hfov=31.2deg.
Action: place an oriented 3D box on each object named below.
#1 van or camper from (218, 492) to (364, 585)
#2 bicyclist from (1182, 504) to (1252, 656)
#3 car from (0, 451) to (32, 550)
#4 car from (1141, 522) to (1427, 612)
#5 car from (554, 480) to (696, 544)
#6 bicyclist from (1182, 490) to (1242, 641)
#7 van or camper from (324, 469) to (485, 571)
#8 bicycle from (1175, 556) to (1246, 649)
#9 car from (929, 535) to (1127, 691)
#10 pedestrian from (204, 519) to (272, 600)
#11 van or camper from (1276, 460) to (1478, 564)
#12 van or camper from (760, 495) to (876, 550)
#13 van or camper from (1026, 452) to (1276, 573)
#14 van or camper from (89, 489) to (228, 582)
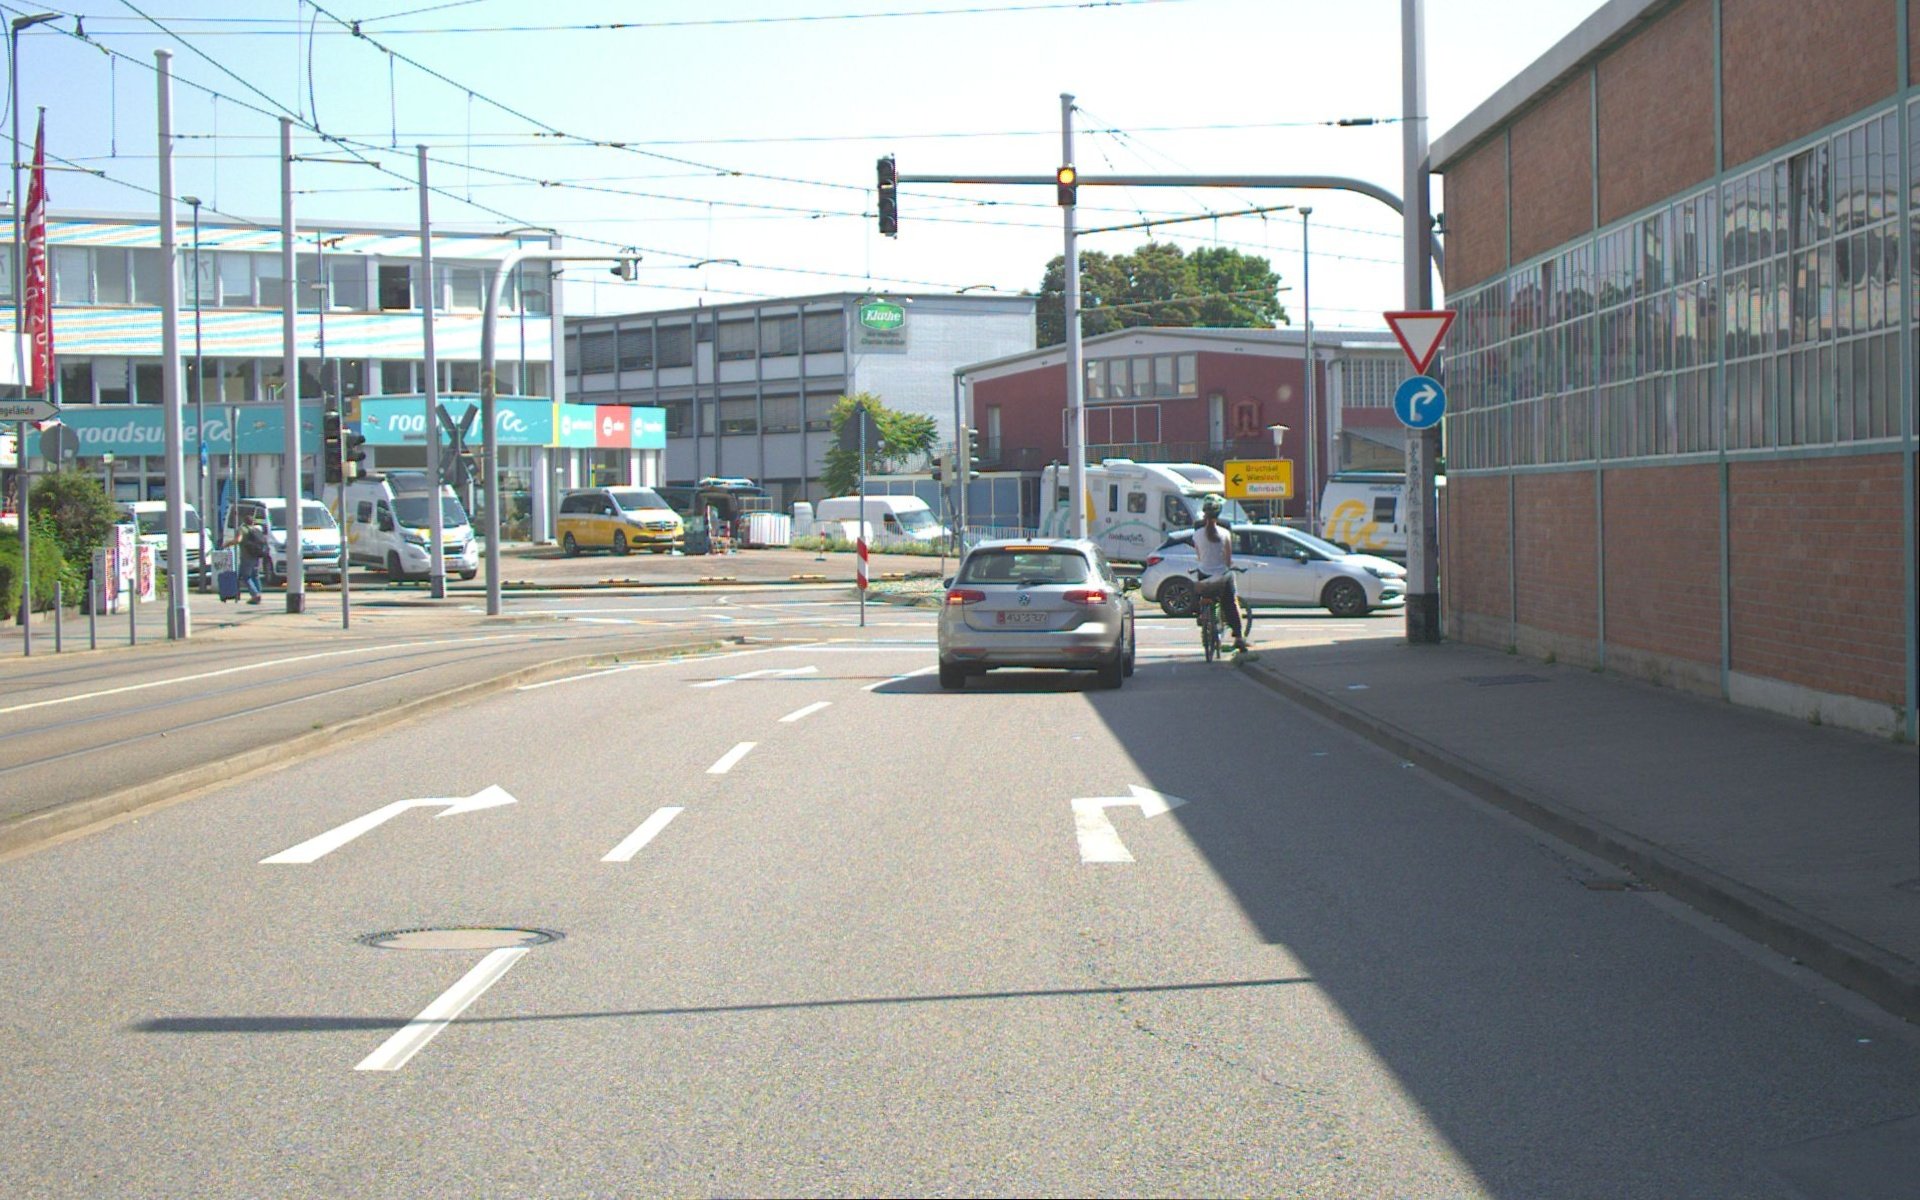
[{"bbox_3d":[-16.240,-1.515,83.263,1.993,2.006,5.011,-2,4,-29],"label":"van or camper"},{"bbox_3d":[2.944,-0.242,39.423,0.786,1.716,1.147,0,1,4],"label":"bicyclist"},{"bbox_3d":[-16.971,-1.567,54.350,3.987,1.513,2.000,0,4,4],"label":"car"},{"bbox_3d":[5.162,-0.524,54.720,4.195,1.370,1.801,0,1,20],"label":"car"},{"bbox_3d":[-9.634,-2.498,98.472,1.938,1.753,5.122,-2,1,-32],"label":"car"},{"bbox_3d":[3.040,-0.421,41.509,0.708,1.804,0.983,0,1,3],"label":"bicyclist"},{"bbox_3d":[-13.720,-2.010,84.663,2.031,2.288,5.814,-2,4,-29],"label":"van or camper"},{"bbox_3d":[2.892,0.011,39.593,0.794,1.018,2.150,0,1,5],"label":"bicycle"},{"bbox_3d":[0.744,0.092,34.839,1.746,1.454,4.000,-1,1,5],"label":"car"},{"bbox_3d":[-13.125,-0.744,62.524,1.129,1.450,0.838,-1,1,-8],"label":"pedestrian"},{"bbox_3d":[11.079,-2.388,91.731,2.282,2.431,5.386,-3,6,-35],"label":"van or camper"},{"bbox_3d":[-5.146,-2.805,124.248,3.997,1.941,1.995,1,2,45],"label":"van or camper"},{"bbox_3d":[4.935,-2.359,89.975,2.347,2.920,6.984,-3,5,-41],"label":"van or camper"},{"bbox_3d":[-19.385,-1.588,83.022,1.993,2.006,4.763,-2,4,-29],"label":"van or camper"}]
